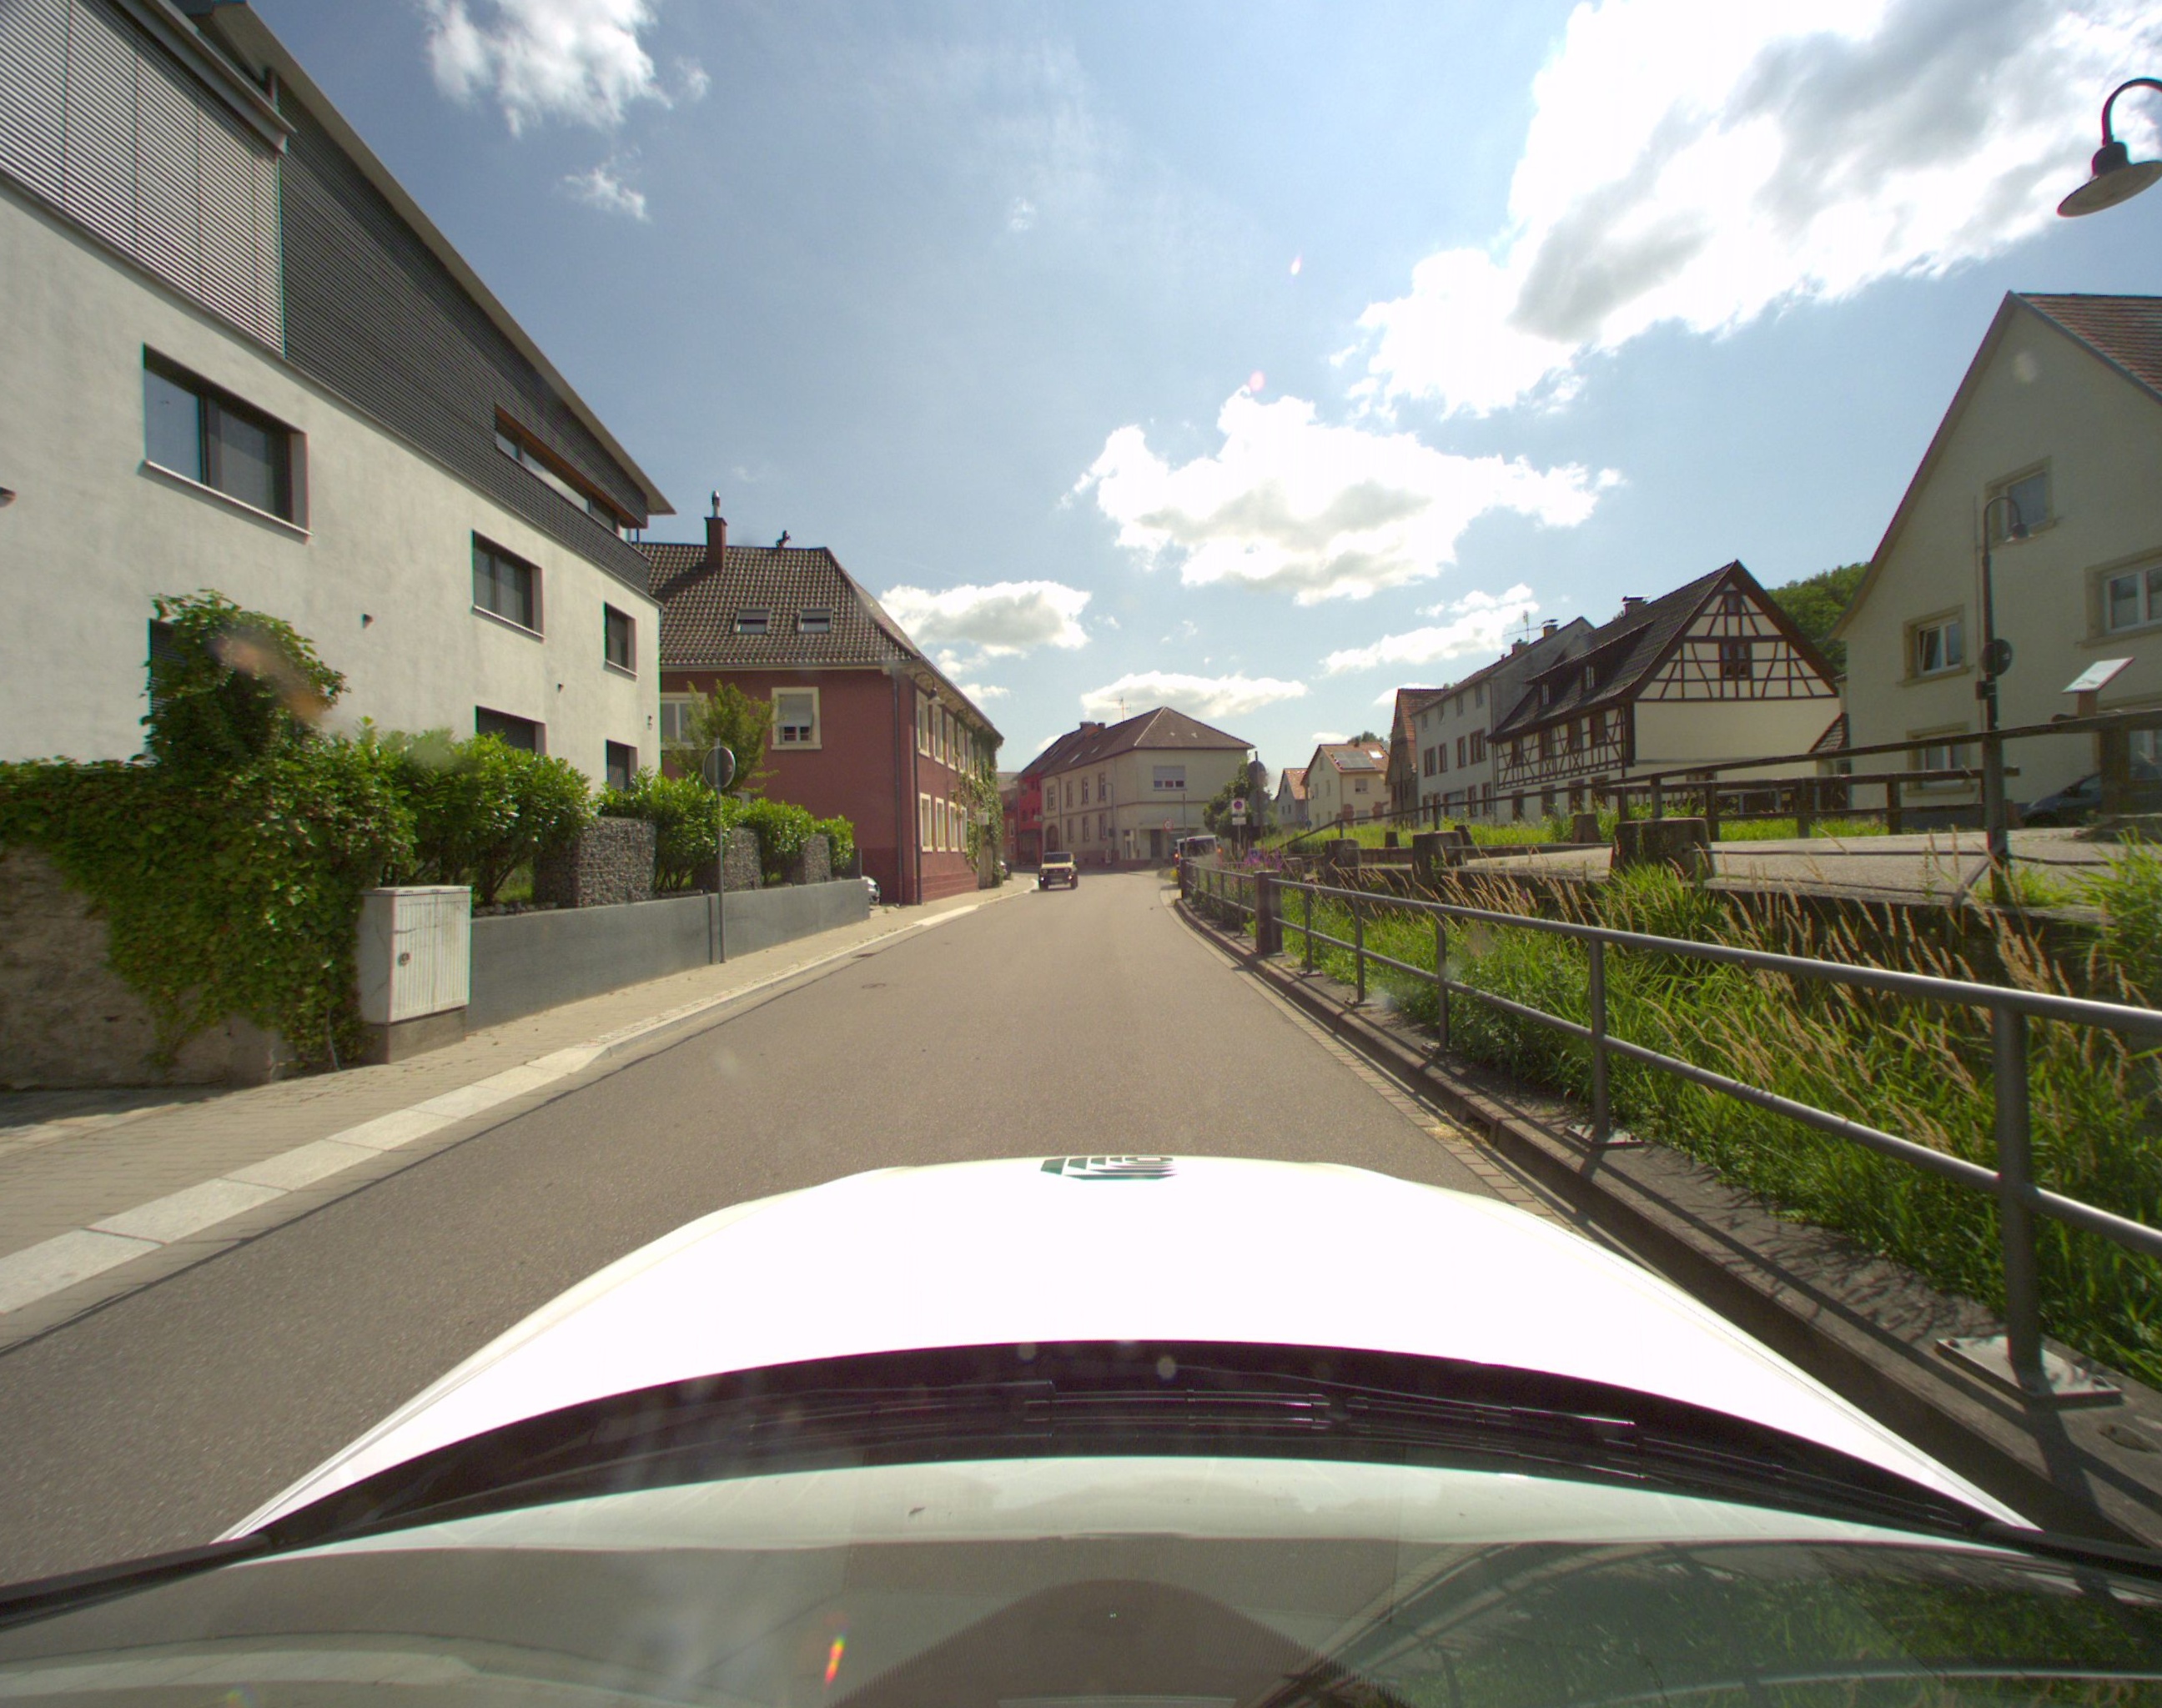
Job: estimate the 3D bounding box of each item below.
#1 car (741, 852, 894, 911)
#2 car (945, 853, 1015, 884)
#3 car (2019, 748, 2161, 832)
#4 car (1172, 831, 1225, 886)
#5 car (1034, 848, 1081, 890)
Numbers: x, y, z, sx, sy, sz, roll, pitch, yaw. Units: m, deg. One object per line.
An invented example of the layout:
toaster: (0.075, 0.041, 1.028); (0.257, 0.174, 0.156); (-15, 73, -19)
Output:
car: (-7.108, 0.720, 22.206); (3.550, 1.406, 1.653); (2, 0, 2)
car: (-5.958, 0.877, 47.612); (2.012, 1.530, 3.950); (-1, -3, -45)
car: (19.574, -1.143, 14.762); (1.659, 1.416, 3.080); (-1, 0, 2)
car: (4.691, 0.159, 32.910); (1.888, 1.980, 3.119); (-4, 0, 6)
car: (-1.023, 0.627, 37.122); (1.613, 1.719, 3.479); (-4, 0, 6)
